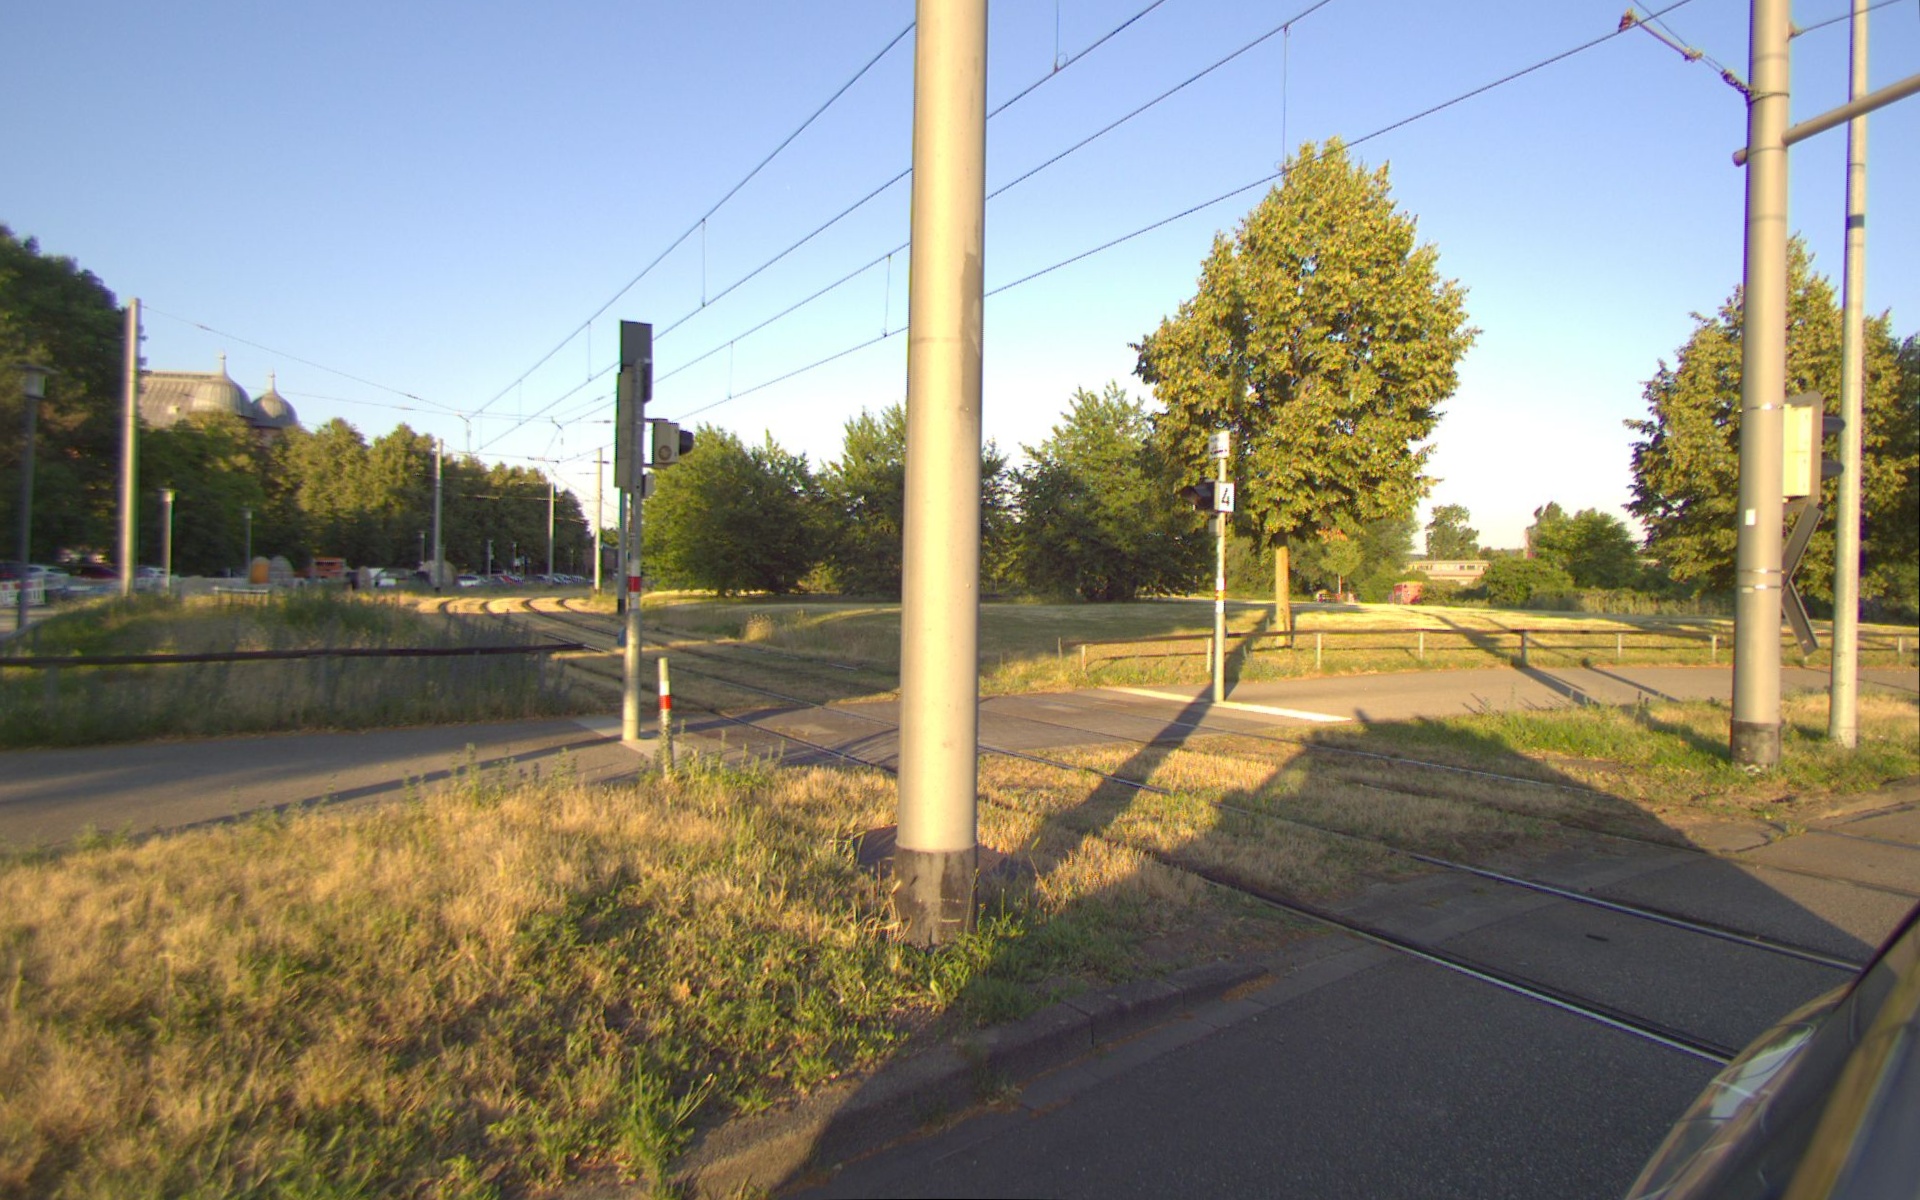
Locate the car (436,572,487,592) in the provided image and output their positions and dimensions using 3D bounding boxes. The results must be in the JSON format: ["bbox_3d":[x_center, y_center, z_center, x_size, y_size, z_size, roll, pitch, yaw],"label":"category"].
[{"bbox_3d":[-41.834,-1.519,84.953,3.535,1.501,1.714,2,-1,-15],"label":"car"}]

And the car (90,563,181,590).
[{"bbox_3d":[-50.733,-1.456,62.356,3.916,1.573,1.907,1,1,-12],"label":"car"}]

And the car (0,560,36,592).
[{"bbox_3d":[-48.703,-1.208,50.096,3.916,1.573,1.907,1,1,-12],"label":"car"}]

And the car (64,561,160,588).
[{"bbox_3d":[-50.183,-1.502,59.945,3.916,1.573,1.907,1,1,-12],"label":"car"}]

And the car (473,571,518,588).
[{"bbox_3d":[-43.425,-1.916,94.593,3.535,1.501,1.714,2,-1,-15],"label":"car"}]

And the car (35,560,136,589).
[{"bbox_3d":[-49.628,-1.435,57.534,3.916,1.573,1.907,1,1,-12],"label":"car"}]

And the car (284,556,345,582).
[{"bbox_3d":[-55.219,-2.636,86.628,3.916,2.121,1.907,1,1,-12],"label":"car"}]

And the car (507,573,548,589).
[{"bbox_3d":[-43.839,-1.881,102.653,3.535,1.501,1.714,2,-1,-15],"label":"car"}]

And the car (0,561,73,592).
[{"bbox_3d":[-49.377,-1.219,53.019,3.916,1.573,1.907,1,1,-12],"label":"car"}]
